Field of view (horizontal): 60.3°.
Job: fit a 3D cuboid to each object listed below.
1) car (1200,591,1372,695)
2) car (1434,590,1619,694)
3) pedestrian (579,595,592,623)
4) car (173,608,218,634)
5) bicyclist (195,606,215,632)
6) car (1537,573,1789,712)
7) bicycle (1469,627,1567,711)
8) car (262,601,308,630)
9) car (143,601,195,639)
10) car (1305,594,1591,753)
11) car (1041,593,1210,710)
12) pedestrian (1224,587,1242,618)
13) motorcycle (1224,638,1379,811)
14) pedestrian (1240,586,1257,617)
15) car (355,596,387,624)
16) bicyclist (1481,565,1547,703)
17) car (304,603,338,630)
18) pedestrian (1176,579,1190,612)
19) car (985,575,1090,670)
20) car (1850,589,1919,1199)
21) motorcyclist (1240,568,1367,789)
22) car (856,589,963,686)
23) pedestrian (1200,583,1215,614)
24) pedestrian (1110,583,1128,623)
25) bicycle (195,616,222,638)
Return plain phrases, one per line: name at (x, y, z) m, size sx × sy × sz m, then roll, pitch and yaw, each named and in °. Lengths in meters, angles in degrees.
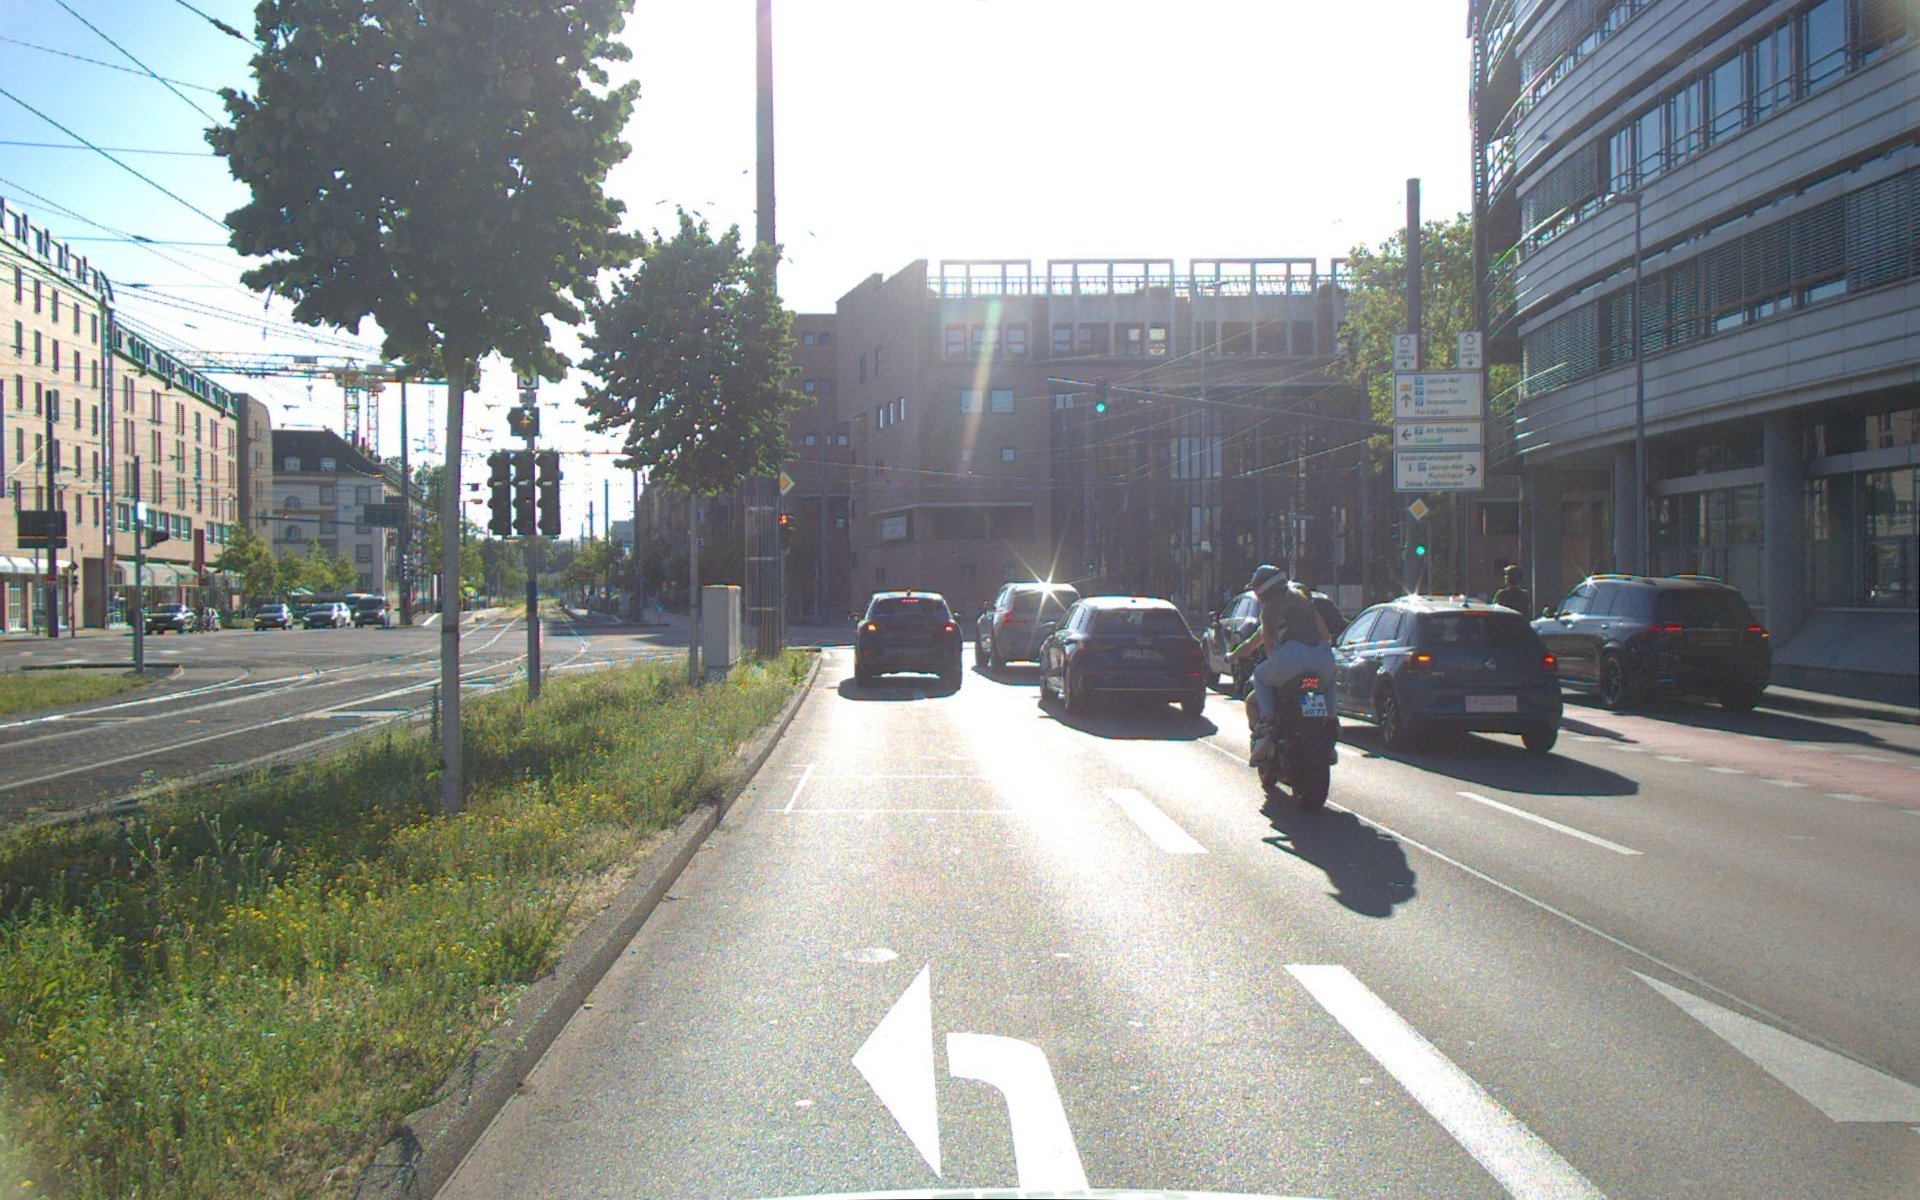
car at (4.992, 0.610, 25.830) m, size 1.771 × 1.482 × 3.999 m, roll 1°, pitch 0°, yaw -2°
car at (9.834, 0.670, 29.038) m, size 1.952 × 1.680 × 4.001 m, roll -1°, pitch 0°, yaw 1°
pedestrian at (-22.951, 0.560, 101.326) m, size 0.730 × 1.669 × 0.764 m, roll -1°, pitch 0°, yaw -16°
car at (-46.953, 1.273, 101.639) m, size 1.854 × 1.536 × 3.983 m, roll -1°, pitch 0°, yaw -16°
bicyclist at (-40.967, 1.044, 89.774) m, size 0.744 × 1.399 × 0.948 m, roll -1°, pitch 0°, yaw -10°
car at (9.847, 0.535, 23.568) m, size 1.952 × 1.780 × 4.331 m, roll -1°, pitch 0°, yaw 3°
bicycle at (7.486, 0.898, 22.294) m, size 0.482 × 1.015 × 2.327 m, roll -1°, pitch 0°, yaw -1°
car at (-39.841, 0.911, 97.671) m, size 1.961 × 1.624 × 4.718 m, roll -1°, pitch 1°, yaw -16°
car at (-45.079, 1.121, 94.327) m, size 1.961 × 2.049 × 3.983 m, roll -1°, pitch 0°, yaw -16°
car at (5.054, 0.696, 17.700) m, size 1.771 × 1.482 × 3.999 m, roll 1°, pitch 0°, yaw -2°
car at (2.073, 0.604, 21.695) m, size 1.702 × 1.373 × 3.999 m, roll 0°, pitch 0°, yaw -2°
pedestrian at (14.583, 0.128, 88.314) m, size 0.881 × 1.645 × 0.561 m, roll -1°, pitch 0°, yaw 6°
motorcycle at (2.535, 0.890, 12.497) m, size 0.759 × 1.135 × 1.969 m, roll -1°, pitch 0°, yaw 0°
pedestrian at (15.628, 0.088, 89.574) m, size 0.881 × 1.645 × 0.561 m, roll -1°, pitch 0°, yaw 6°
car at (-34.516, 0.569, 96.874) m, size 1.719 × 1.531 × 3.858 m, roll -1°, pitch 0°, yaw -20°
bicyclist at (7.480, 0.452, 22.352) m, size 0.565 × 1.822 × 0.863 m, roll -1°, pitch 0°, yaw -2°
car at (-37.603, 0.943, 97.425) m, size 1.719 × 1.531 × 3.858 m, roll -1°, pitch 0°, yaw -20°
pedestrian at (10.198, -0.205, 75.490) m, size 0.519 × 1.455 × 0.598 m, roll -1°, pitch 0°, yaw -3°
car at (1.421, 0.393, 31.622) m, size 1.702 × 1.680 × 3.999 m, roll 0°, pitch 0°, yaw -2°
car at (2.709, 0.778, 1.113) m, size 1.774 × 1.518 × 4.496 m, roll 2°, pitch 0°, yaw 0°
motorcyclist at (2.514, 0.551, 12.189) m, size 0.729 × 1.557 × 1.021 m, roll -1°, pitch 0°, yaw 1°
car at (-0.816, 0.554, 27.075) m, size 1.616 × 1.458 × 3.999 m, roll 0°, pitch 0°, yaw -2°
pedestrian at (13.482, -0.079, 90.139) m, size 0.722 × 1.645 × 0.561 m, roll -1°, pitch 0°, yaw 6°
pedestrian at (7.254, 0.147, 75.383) m, size 0.692 × 1.789 × 0.560 m, roll -1°, pitch 0°, yaw 23°
bicycle at (-40.998, 1.465, 90.251) m, size 0.638 × 1.104 × 2.919 m, roll -1°, pitch 0°, yaw -10°
